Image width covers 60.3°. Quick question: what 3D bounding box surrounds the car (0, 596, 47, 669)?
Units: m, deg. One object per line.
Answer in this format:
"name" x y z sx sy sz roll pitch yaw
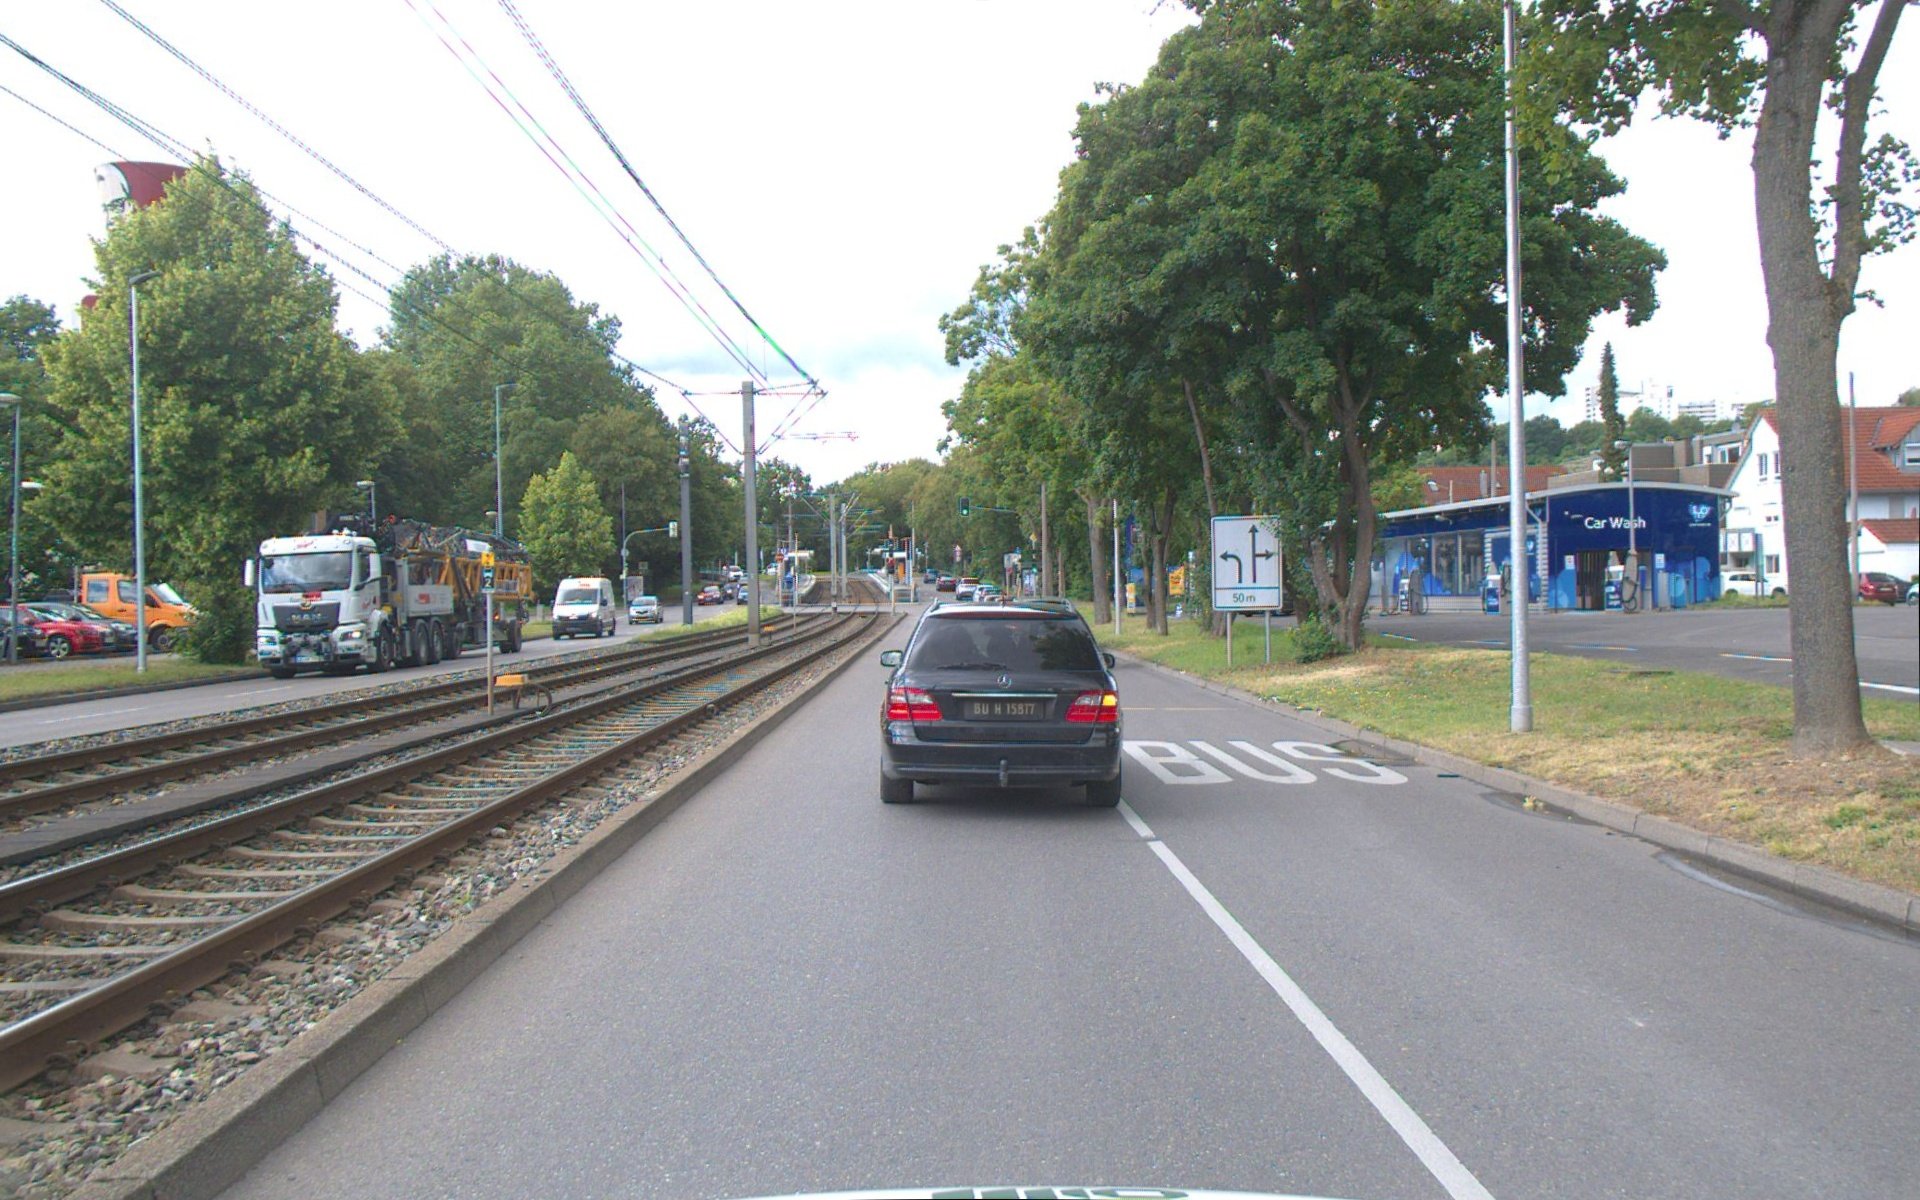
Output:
"car" -23.299 0.771 37.654 3.910 1.627 1.876 -2 0 -6

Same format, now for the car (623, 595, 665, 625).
"car" -18.119 0.543 94.843 1.729 1.676 3.770 1 0 -1

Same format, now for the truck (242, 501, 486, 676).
"truck" -14.484 -0.269 41.345 2.653 3.727 11.103 -1 0 -4

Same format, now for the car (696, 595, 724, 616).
"car" -20.504 0.429 135.884 1.729 1.676 3.770 1 0 -1

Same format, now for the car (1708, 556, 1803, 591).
"car" 41.318 -1.376 85.988 4.132 1.713 1.776 1 0 -4

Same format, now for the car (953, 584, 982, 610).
"car" 0.524 -0.210 118.984 1.953 1.870 3.999 1 0 -1

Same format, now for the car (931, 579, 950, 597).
"car" -2.100 -1.247 176.562 1.953 1.870 3.999 1 0 -1

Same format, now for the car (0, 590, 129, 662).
"car" -24.019 0.657 42.965 3.910 1.829 1.876 0 0 -6

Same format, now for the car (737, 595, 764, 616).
"car" -16.812 0.415 132.689 1.729 1.676 3.770 1 0 -1

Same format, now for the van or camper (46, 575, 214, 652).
"van or camper" -23.996 0.374 47.917 3.910 2.172 1.876 0 0 -6

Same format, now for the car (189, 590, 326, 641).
"car" -24.065 0.520 56.735 3.910 1.627 1.794 -2 0 -6

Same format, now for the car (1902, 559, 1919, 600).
"car" 38.970 -0.810 64.743 1.506 1.627 3.725 1 0 -13

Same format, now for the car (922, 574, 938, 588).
"car" -3.519 -2.183 193.246 1.634 1.559 3.767 1 0 -4

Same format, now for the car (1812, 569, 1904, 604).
"car" 37.898 -0.562 69.879 1.553 1.419 3.407 1 0 -13

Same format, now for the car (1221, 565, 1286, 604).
"car" 13.596 -0.734 76.509 1.965 1.712 4.579 -1 0 23

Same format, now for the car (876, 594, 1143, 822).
"car" 0.299 0.709 12.904 1.772 1.500 3.880 0 0 -1

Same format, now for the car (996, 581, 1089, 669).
"car" 1.734 0.521 35.808 1.744 1.781 3.717 1 0 -1

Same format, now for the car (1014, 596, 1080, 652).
"car" 2.339 0.640 44.970 1.539 1.439 3.353 1 0 -1

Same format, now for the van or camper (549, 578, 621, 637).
"van or camper" -16.065 0.296 71.125 1.954 2.395 5.762 -1 0 -3

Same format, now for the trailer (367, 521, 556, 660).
"trailer" -15.151 -0.290 51.569 2.652 3.724 13.288 -1 0 -4
